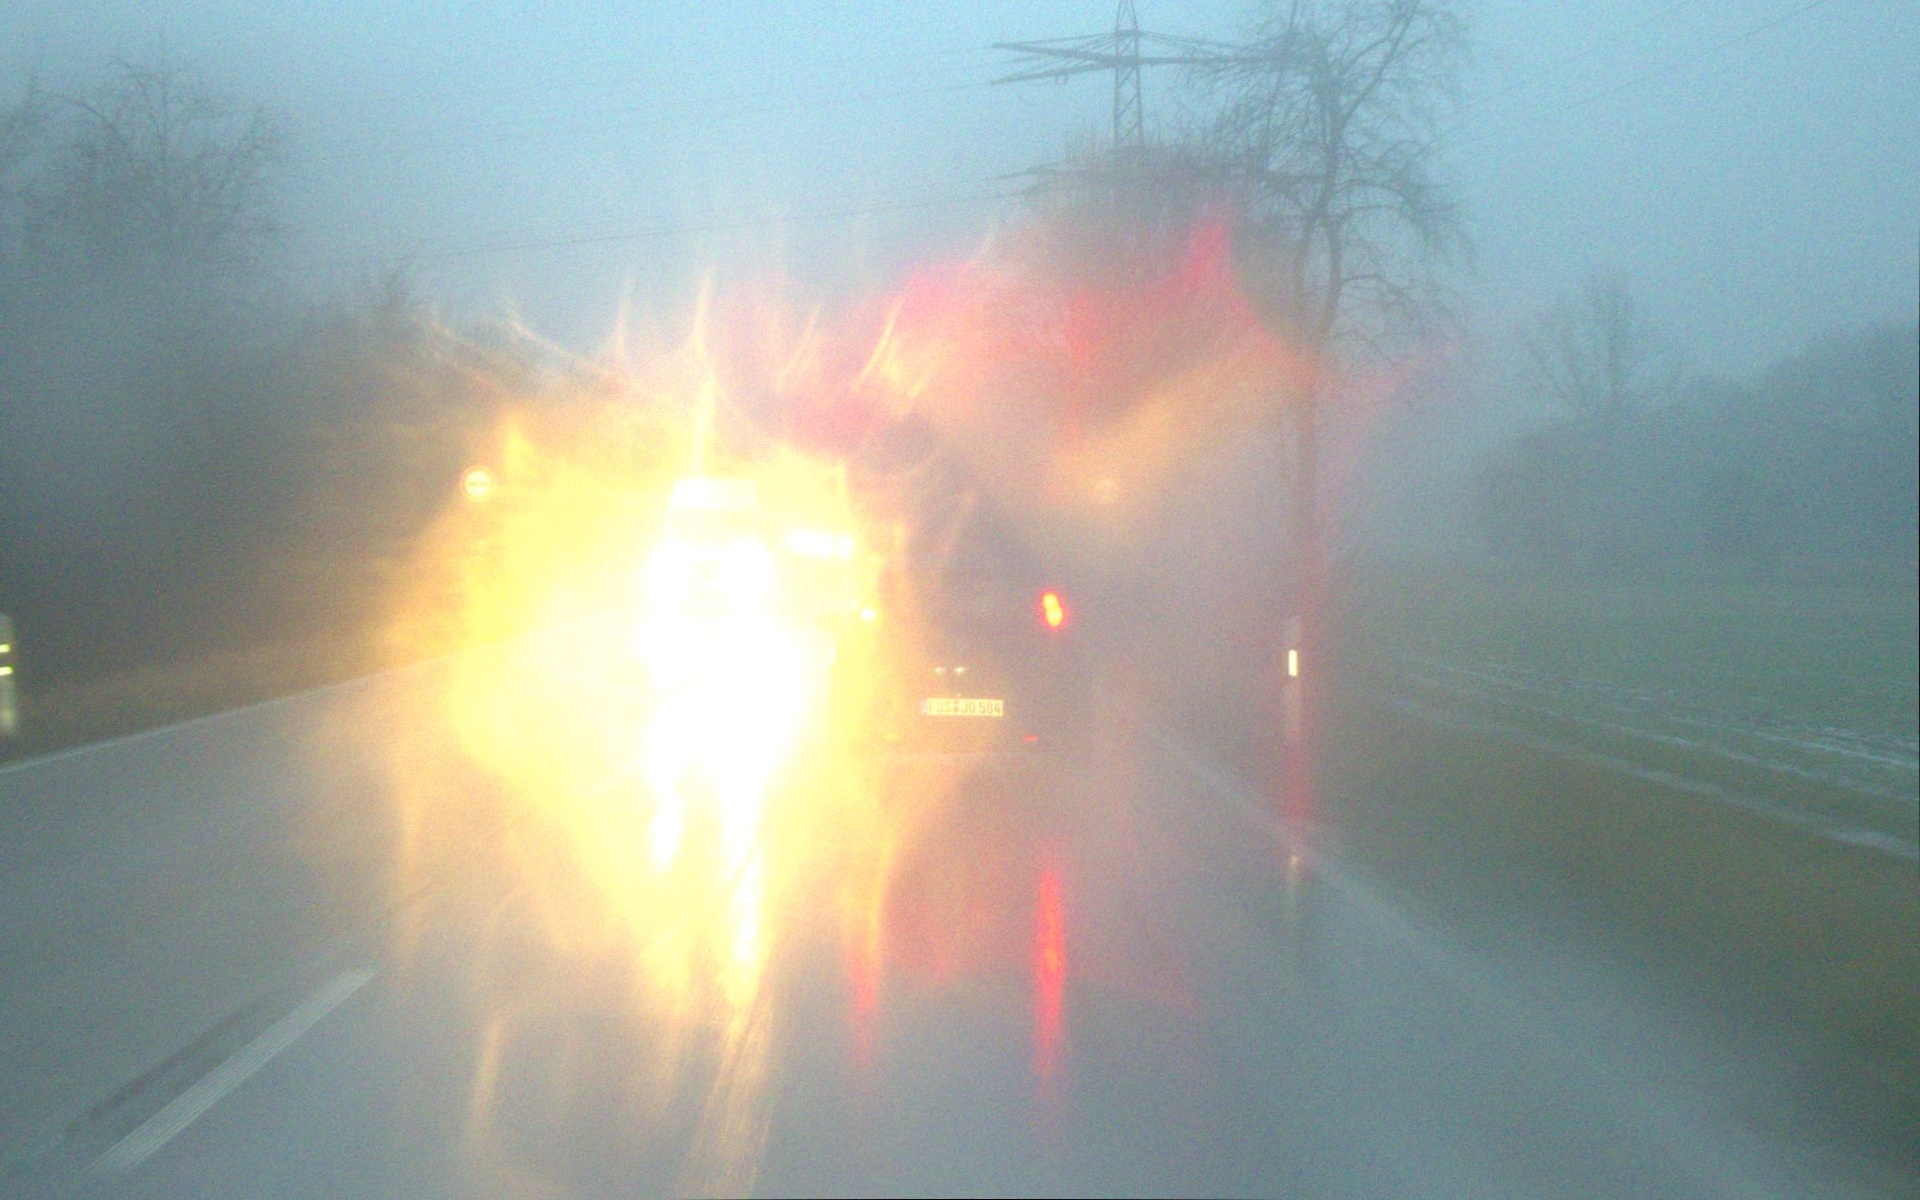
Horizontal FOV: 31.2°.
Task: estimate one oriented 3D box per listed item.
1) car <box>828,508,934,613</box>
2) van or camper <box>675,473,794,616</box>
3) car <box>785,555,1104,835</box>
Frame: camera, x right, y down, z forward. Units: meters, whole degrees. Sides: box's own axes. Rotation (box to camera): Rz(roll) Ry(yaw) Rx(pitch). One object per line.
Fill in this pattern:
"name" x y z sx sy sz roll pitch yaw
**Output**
"car" -1.544 -0.782 68.381 1.993 2.007 4.000 -1 1 0
"van or camper" -4.535 -1.133 70.070 2.021 2.767 6.744 0 1 -1
"car" -0.130 0.571 23.573 1.993 1.746 4.000 0 1 -1
